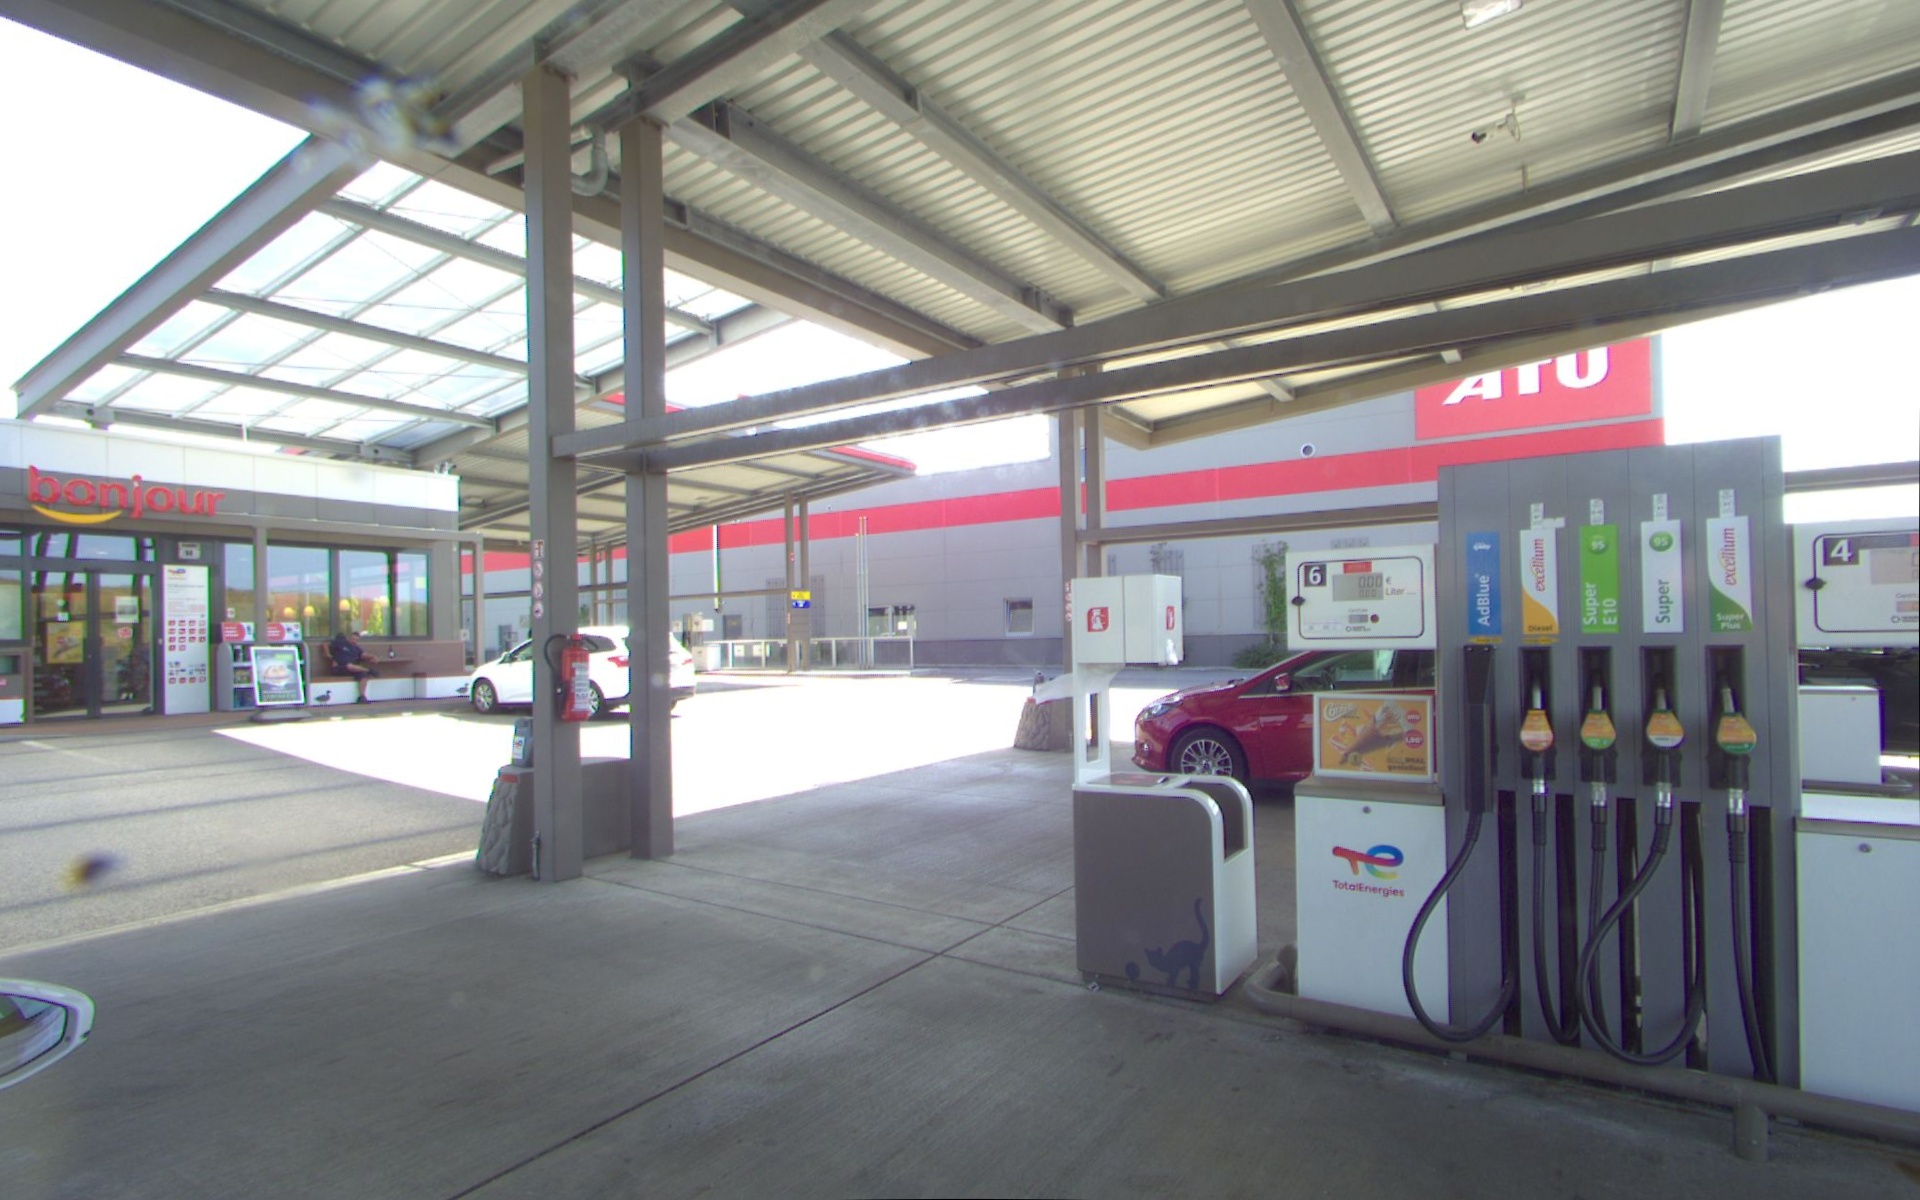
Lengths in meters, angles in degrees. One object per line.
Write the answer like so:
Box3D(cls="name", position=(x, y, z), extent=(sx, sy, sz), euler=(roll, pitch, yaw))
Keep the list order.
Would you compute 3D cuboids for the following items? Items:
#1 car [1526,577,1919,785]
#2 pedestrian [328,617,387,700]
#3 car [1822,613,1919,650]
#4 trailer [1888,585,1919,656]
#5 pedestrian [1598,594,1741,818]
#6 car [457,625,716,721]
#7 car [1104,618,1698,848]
Box3D(cls="car", position=(8.584, 0.745, 10.274), extent=(4.730, 1.875, 2.023), euler=(0, 0, 33))
Box3D(cls="pedestrian", position=(-10.896, 1.043, 18.109), extent=(0.663, 1.450, 0.700), euler=(-1, -1, 32))
Box3D(cls="car", position=(34.996, 1.170, 37.635), extent=(3.761, 1.334, 1.682), euler=(-1, -1, 0))
Box3D(cls="trailer", position=(35.142, 0.699, 34.693), extent=(3.922, 2.459, 2.000), euler=(-1, -1, 6))
Box3D(cls="pedestrian", position=(5.833, 0.833, 8.279), extent=(0.915, 1.725, 0.699), euler=(-1, -1, 34))
Box3D(cls="car", position=(-6.500, 1.197, 17.367), extent=(4.253, 1.475, 1.829), euler=(-1, -1, 27))
Box3D(cls="car", position=(3.458, 0.915, 8.319), extent=(4.173, 1.488, 1.695), euler=(-1, -1, 33))
